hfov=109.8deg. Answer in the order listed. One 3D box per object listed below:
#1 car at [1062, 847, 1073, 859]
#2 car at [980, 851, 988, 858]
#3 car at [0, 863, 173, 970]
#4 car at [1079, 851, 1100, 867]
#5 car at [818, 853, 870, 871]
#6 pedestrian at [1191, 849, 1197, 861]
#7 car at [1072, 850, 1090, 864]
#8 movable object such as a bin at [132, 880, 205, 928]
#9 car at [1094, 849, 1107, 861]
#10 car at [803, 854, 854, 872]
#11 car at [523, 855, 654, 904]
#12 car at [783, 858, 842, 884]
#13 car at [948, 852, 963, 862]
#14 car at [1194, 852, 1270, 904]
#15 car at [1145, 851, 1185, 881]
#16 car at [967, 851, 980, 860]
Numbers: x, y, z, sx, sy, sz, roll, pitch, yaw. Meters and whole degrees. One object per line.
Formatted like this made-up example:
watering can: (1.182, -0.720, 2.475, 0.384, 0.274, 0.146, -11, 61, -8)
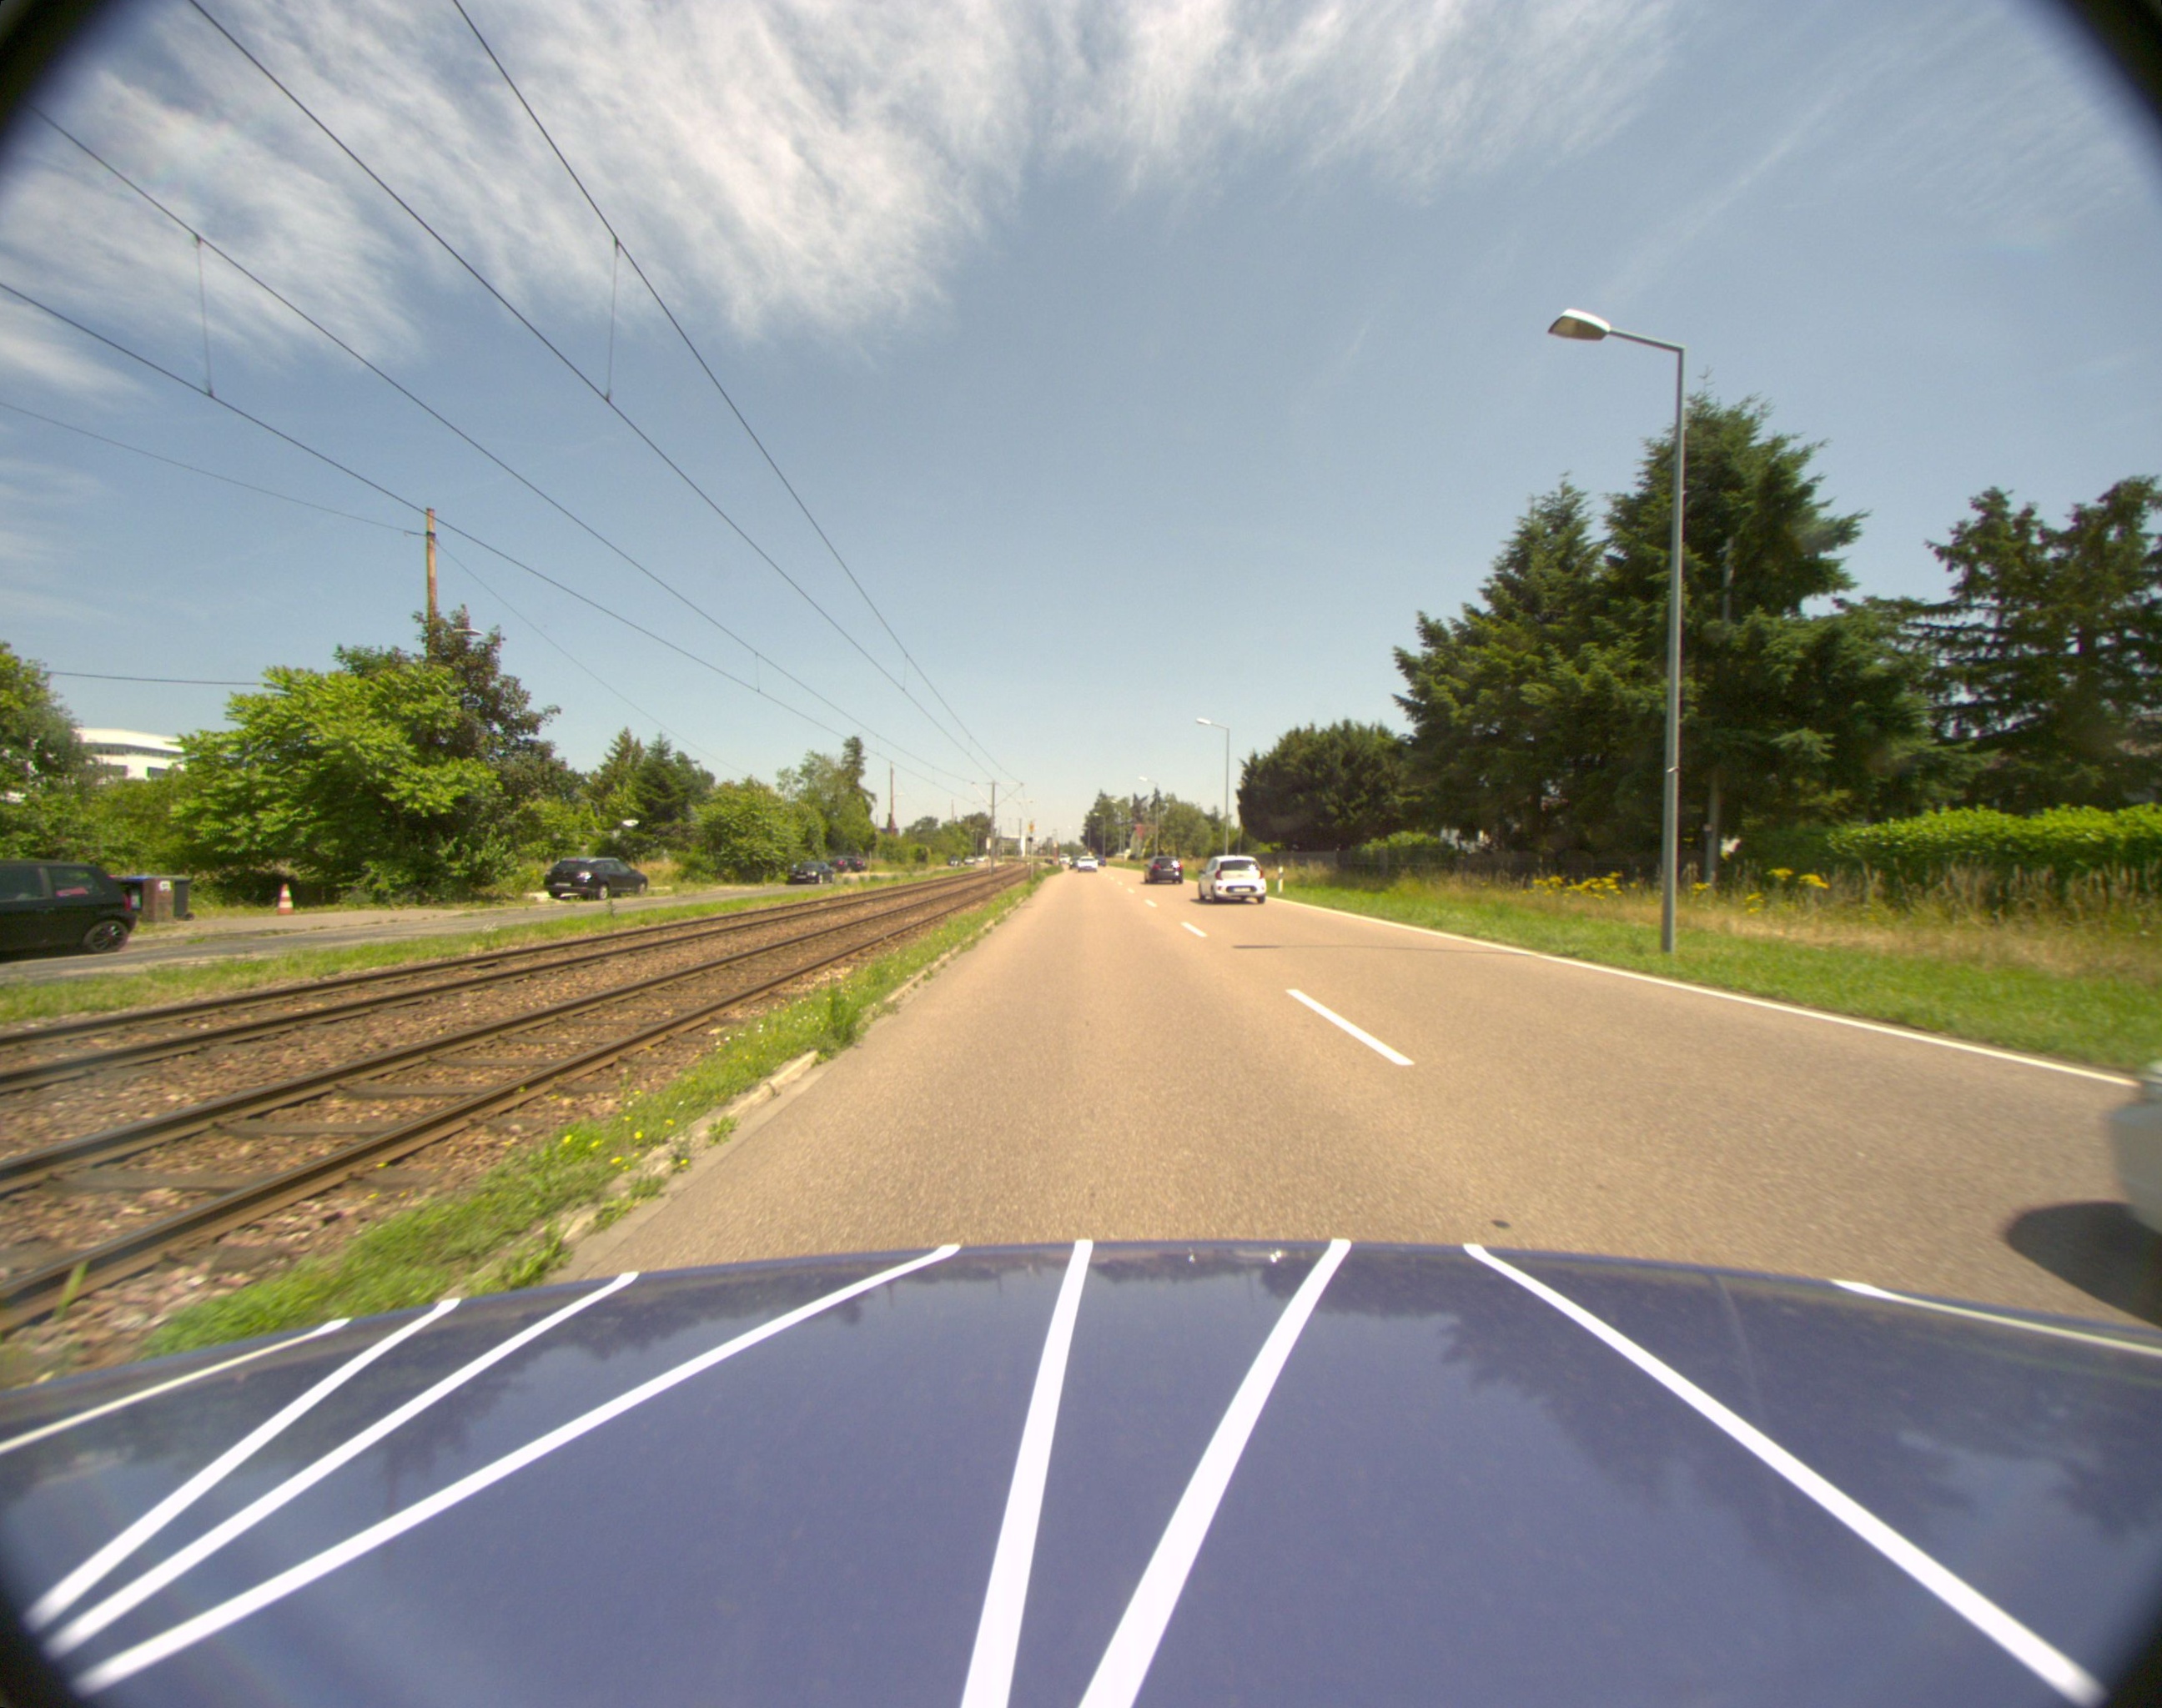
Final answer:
car: (-2.434, -0.202, 139.038, 1.938, 2.002, 3.998, -1, 1, -3)
car: (-23.962, 0.119, 187.549, 1.718, 1.480, 3.998, -1, 1, -5)
car: (-16.189, 0.907, 10.710, 1.919, 1.462, 3.999, -1, 1, 0)
car: (0.741, 0.470, 72.301, 1.856, 1.447, 3.705, -1, 1, -1)
car: (-21.071, 0.682, 67.690, 3.995, 1.509, 1.899, -1, 1, 5)
pedestrian: (13.544, 0.121, 91.168, 0.610, 1.469, 0.633, -1, 1, -2)
car: (-0.080, 0.296, 88.773, 1.999, 1.576, 3.999, -1, 1, -1)
movable object such as a bin: (-18.772, 1.018, 15.638, 0.726, 0.932, 0.621, -1, 1, 0)
car: (2.720, 0.177, 106.716, 1.751, 1.622, 4.029, -1, 1, -1)
car: (-21.690, 0.776, 65.421, 3.737, 1.411, 1.898, -1, 1, 0)
car: (-17.803, 0.867, 27.774, 1.940, 1.552, 4.554, -1, 1, -2)
car: (-15.195, 0.942, 43.202, 1.866, 1.322, 4.513, -1, 1, -2)
car: (-18.746, 0.494, 113.354, 1.624, 1.414, 4.871, -1, 1, -3)
car: (4.788, 0.709, 24.522, 1.751, 1.494, 3.707, -1, 1, 0)
car: (4.500, 0.601, 41.226, 1.705, 1.483, 4.439, -1, 1, 0)
car: (-18.610, 0.219, 132.043, 1.945, 1.414, 3.998, -1, 1, -4)
